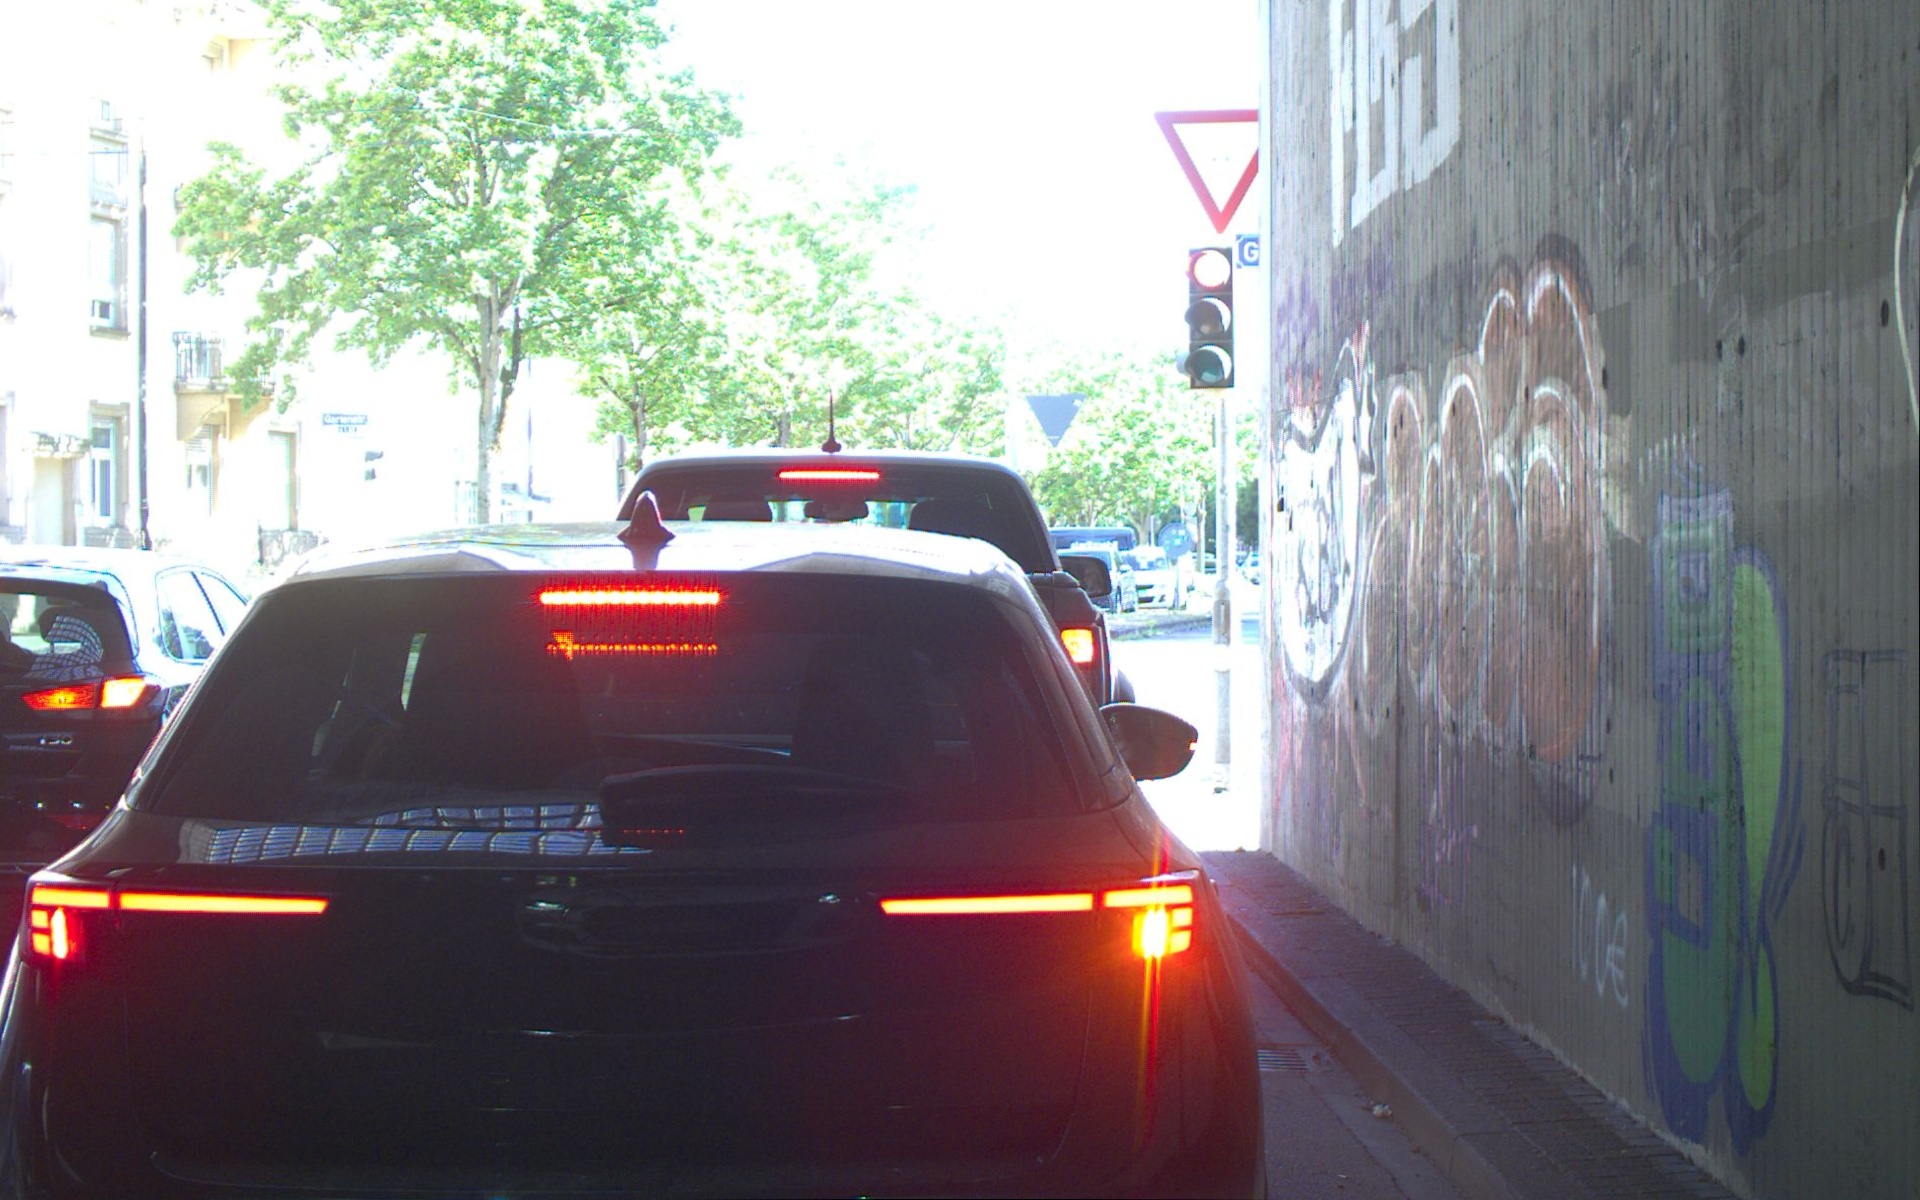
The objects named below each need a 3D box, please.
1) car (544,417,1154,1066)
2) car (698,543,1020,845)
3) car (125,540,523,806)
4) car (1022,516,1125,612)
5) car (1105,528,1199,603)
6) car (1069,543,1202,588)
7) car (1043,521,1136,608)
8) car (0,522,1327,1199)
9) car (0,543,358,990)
[{"bbox_3d":[-0.346,0.377,12.026,1.762,1.876,4.146,0,1,-1],"label":"car"},{"bbox_3d":[-0.531,0.439,19.246,1.609,1.508,4.054,0,1,-1],"label":"car"},{"bbox_3d":[-3.773,0.373,20.998,1.762,1.475,3.844,0,1,-1],"label":"car"},{"bbox_3d":[2.081,-0.651,62.181,1.754,1.661,3.944,1,1,3],"label":"car"},{"bbox_3d":[4.427,-0.784,78.843,1.754,1.661,3.943,1,1,9],"label":"car"},{"bbox_3d":[6.830,-1.347,133.760,4.798,1.661,1.824,1,1,-21],"label":"car"},{"bbox_3d":[2.602,-0.705,68.300,1.754,1.661,3.944,1,1,3],"label":"car"},{"bbox_3d":[-0.474,0.639,6.085,1.762,1.526,4.089,0,1,-1],"label":"car"},{"bbox_3d":[-3.523,0.520,13.274,1.762,1.475,3.844,0,1,-1],"label":"car"}]
